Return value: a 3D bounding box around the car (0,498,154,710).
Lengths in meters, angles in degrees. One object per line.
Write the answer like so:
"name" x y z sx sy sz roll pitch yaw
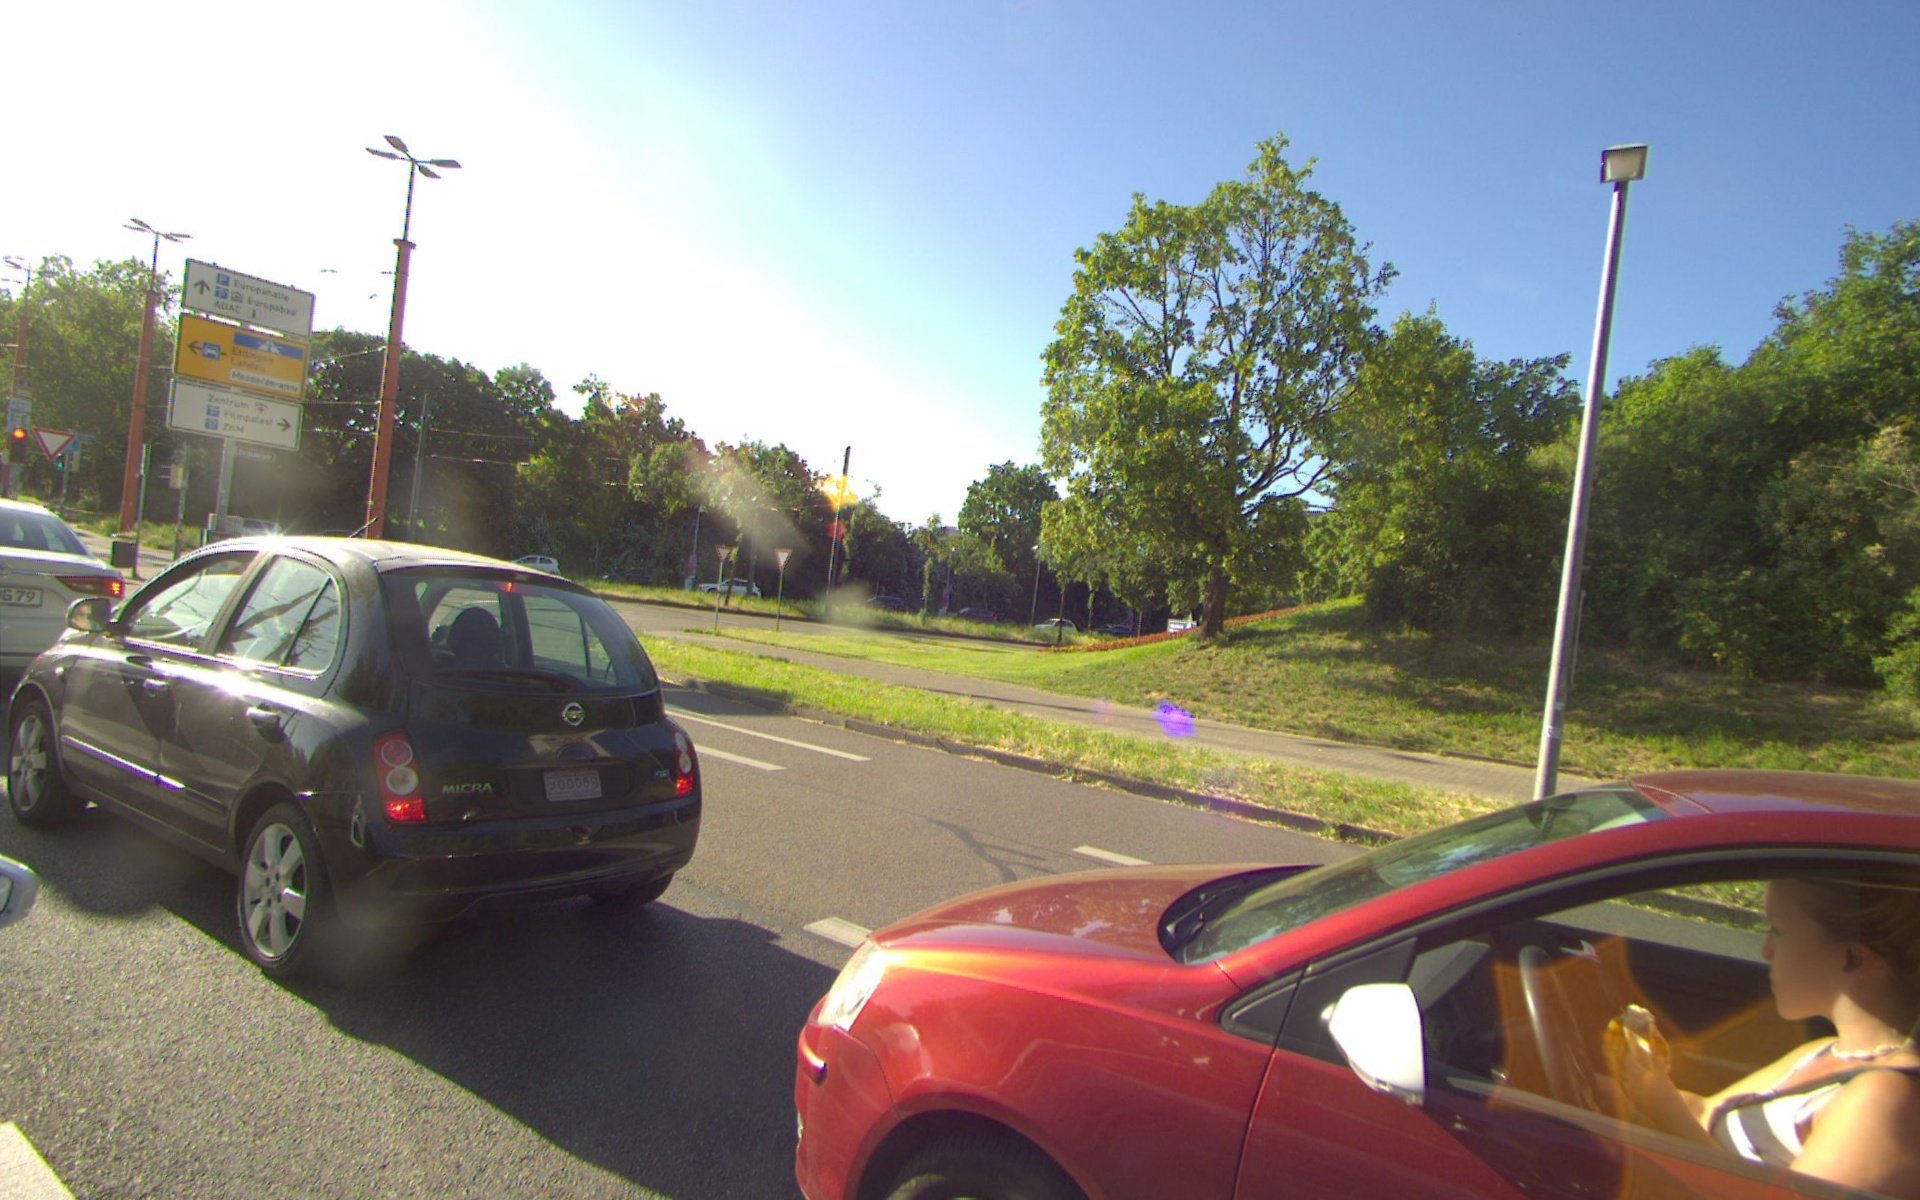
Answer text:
"car" -8.349 -0.171 8.013 4.130 1.454 1.723 7 -1 33

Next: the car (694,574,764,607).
"car" -15.612 -0.642 67.959 4.195 1.701 1.690 8 -1 -29

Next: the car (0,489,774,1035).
"car" -2.836 0.466 4.694 3.555 1.518 1.657 7 -2 32

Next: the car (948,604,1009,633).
"car" 1.440 1.459 78.315 4.257 1.725 1.833 8 -1 -29

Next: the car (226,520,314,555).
"car" -37.559 -3.387 54.861 3.805 1.278 1.590 9 -3 -33

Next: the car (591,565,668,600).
"car" -20.266 -1.073 61.725 4.000 1.615 1.981 8 -1 -35

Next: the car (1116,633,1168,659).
"car" 15.726 3.954 86.948 3.955 1.693 1.827 9 -2 -28

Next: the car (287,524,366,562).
"car" -33.622 -3.009 53.466 3.371 1.475 1.452 8 -1 -32

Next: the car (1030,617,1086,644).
"car" 7.650 2.386 78.334 3.970 1.546 1.694 8 -1 -30

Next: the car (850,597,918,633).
"car" -5.243 1.037 69.513 4.169 1.906 1.750 8 -1 -35

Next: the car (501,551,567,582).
"car" -26.146 -2.068 61.782 3.414 1.384 1.280 9 -2 -32

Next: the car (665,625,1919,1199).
"car" 1.396 1.023 1.871 3.700 1.455 1.644 6 -2 33
